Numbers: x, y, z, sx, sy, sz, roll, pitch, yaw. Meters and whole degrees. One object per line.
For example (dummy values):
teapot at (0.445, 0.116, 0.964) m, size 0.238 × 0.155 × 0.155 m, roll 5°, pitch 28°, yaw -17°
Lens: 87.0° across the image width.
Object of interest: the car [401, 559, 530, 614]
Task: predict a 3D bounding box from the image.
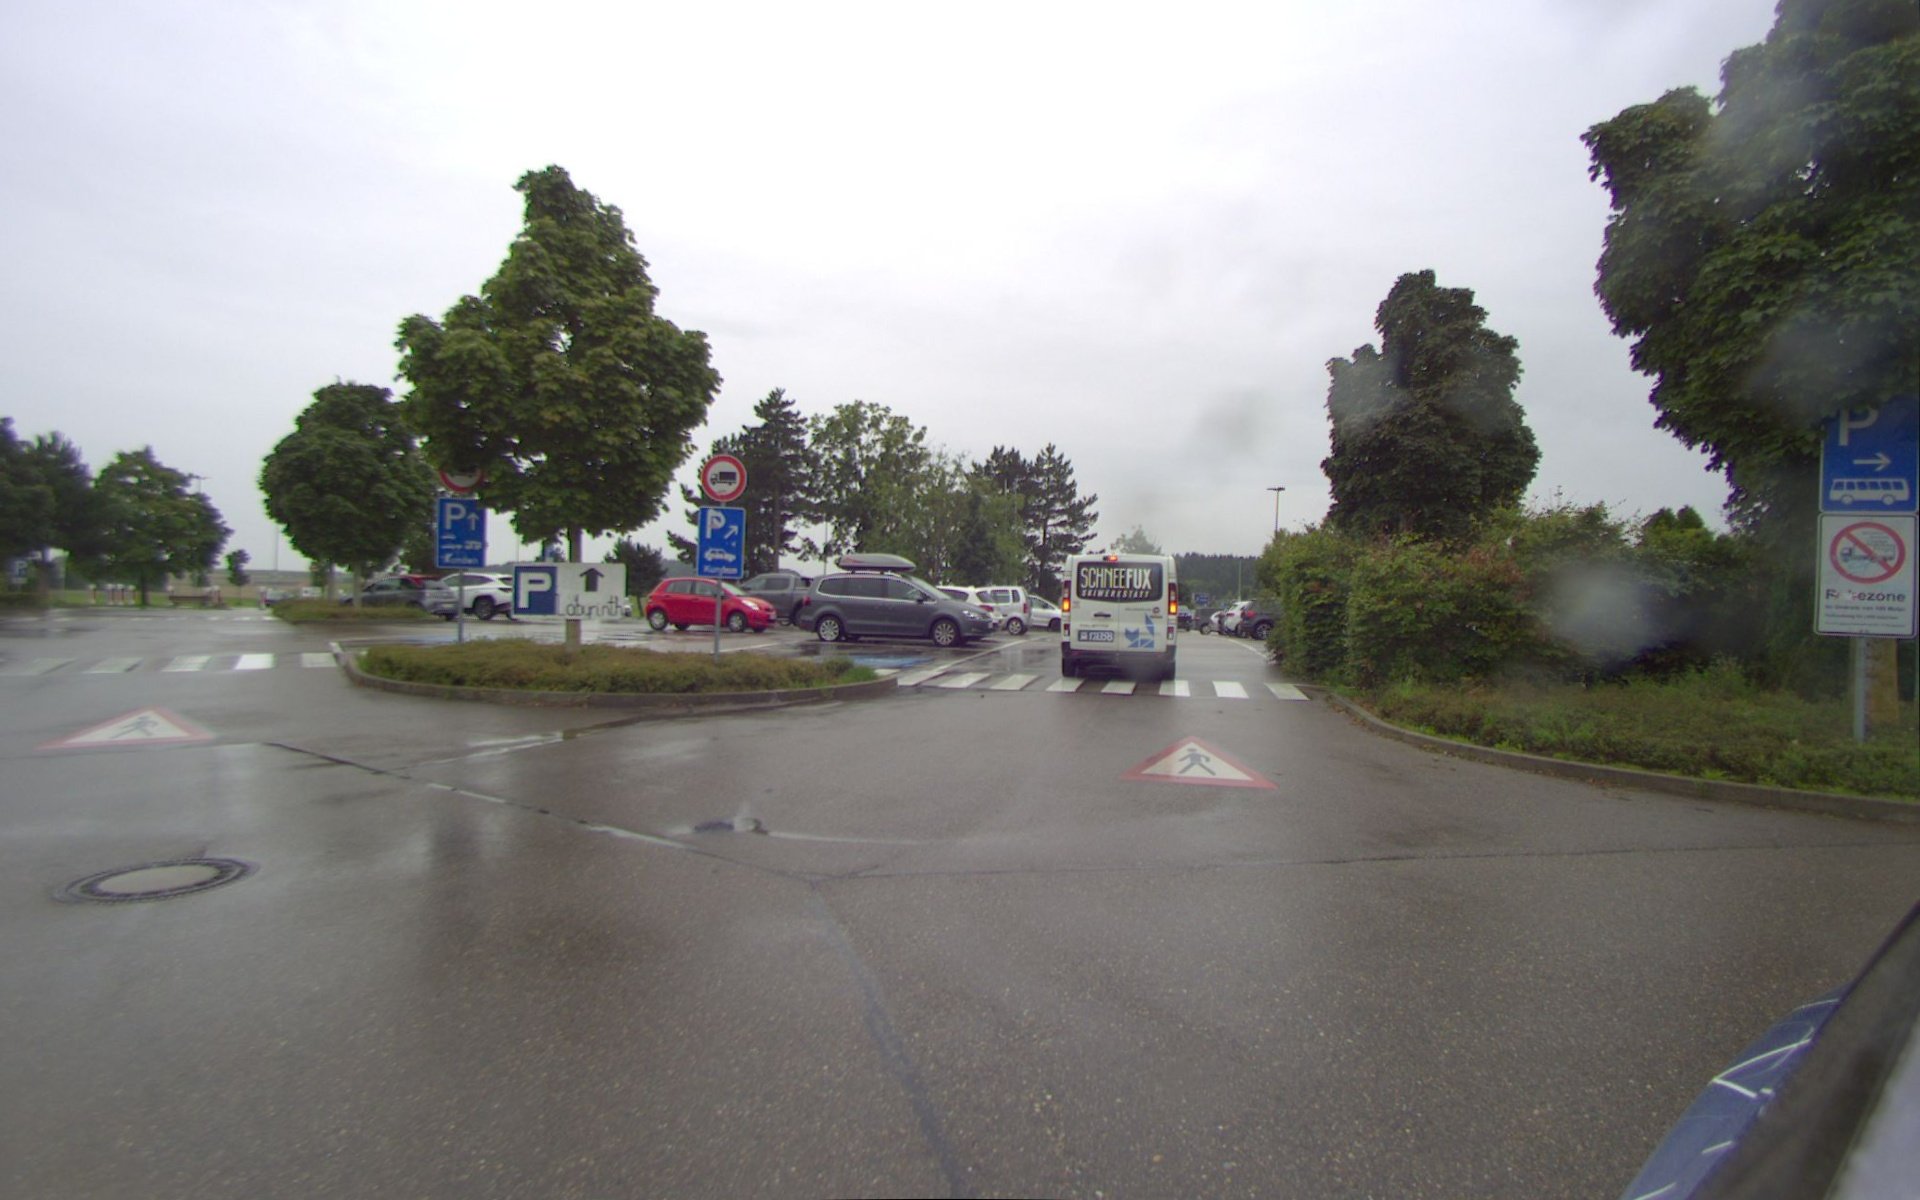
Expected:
car at (-17.451, -0.496, 35.719) m, size 3.993 × 1.714 × 1.704 m, roll 2°, pitch 1°, yaw 17°

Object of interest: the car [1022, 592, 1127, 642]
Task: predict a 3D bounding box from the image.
car at (5.404, 0.766, 47.632) m, size 4.697 × 2.107 × 1.992 m, roll 2°, pitch 1°, yaw 14°

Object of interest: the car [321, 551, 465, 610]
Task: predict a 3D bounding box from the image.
car at (-18.451, -0.649, 32.982) m, size 3.991 × 1.714 × 1.791 m, roll 2°, pitch 1°, yaw 15°

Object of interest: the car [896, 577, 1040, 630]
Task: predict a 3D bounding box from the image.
car at (0.305, 0.097, 35.557) m, size 4.697 × 1.606 × 1.992 m, roll 2°, pitch 1°, yaw 14°

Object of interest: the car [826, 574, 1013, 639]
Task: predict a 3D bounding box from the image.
car at (-1.064, 0.133, 27.394) m, size 4.697 × 1.490 × 1.878 m, roll 2°, pitch 1°, yaw 14°

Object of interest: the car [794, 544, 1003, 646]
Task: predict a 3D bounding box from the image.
car at (-1.470, -0.170, 24.772) m, size 4.697 × 2.215 × 1.992 m, roll 2°, pitch 1°, yaw 14°

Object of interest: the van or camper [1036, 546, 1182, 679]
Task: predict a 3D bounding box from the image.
van or camper at (2.549, 0.152, 17.911) m, size 2.157 × 1.969 × 5.188 m, roll 1°, pitch 1°, yaw 7°

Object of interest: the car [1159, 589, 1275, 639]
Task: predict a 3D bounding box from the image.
car at (9.533, 0.492, 37.724) m, size 4.033 × 1.648 × 1.780 m, roll 2°, pitch 1°, yaw 14°

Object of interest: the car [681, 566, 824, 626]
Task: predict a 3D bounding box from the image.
car at (-7.031, -0.162, 34.492) m, size 4.331 × 1.800 × 1.920 m, roll 2°, pitch 1°, yaw 10°

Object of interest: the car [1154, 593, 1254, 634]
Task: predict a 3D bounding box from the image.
car at (10.340, 0.535, 43.048) m, size 4.033 × 1.515 × 1.759 m, roll 2°, pitch 1°, yaw 14°

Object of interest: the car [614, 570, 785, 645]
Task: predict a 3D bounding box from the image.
car at (-7.433, 0.183, 29.074) m, size 4.331 × 1.908 × 1.920 m, roll 2°, pitch 1°, yaw 10°
